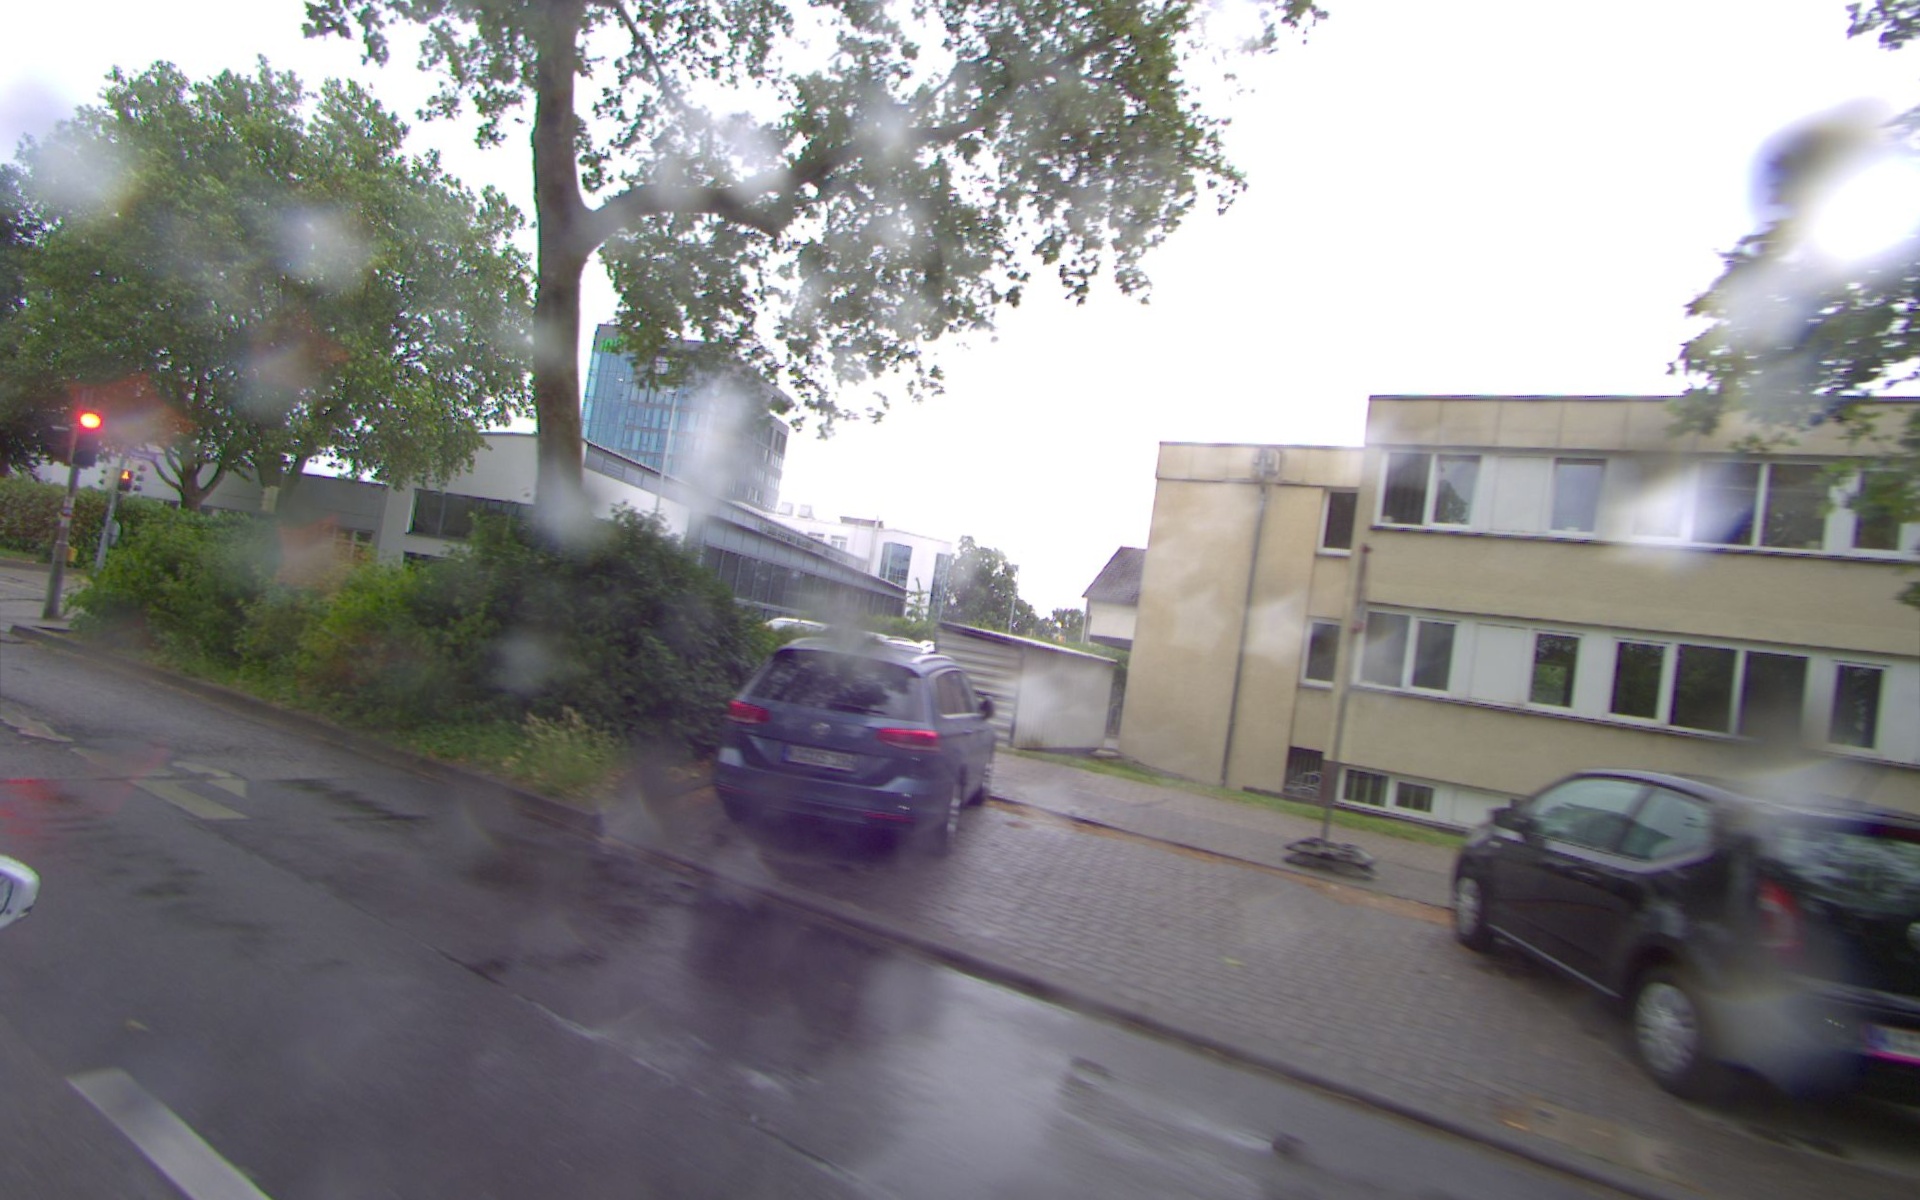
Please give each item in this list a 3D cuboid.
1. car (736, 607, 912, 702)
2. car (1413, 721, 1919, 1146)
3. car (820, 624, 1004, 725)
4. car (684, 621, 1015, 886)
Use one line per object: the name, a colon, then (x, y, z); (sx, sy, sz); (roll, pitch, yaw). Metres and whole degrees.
car: (-3.139, 1.394, 24.266); (1.749, 1.776, 4.553); (7, -3, 27)
car: (4.355, 1.673, 5.971); (1.716, 1.432, 3.698); (8, -3, 4)
car: (-0.922, 1.737, 22.300); (1.719, 1.776, 4.550); (7, -3, 30)
car: (-0.620, 1.144, 8.829); (1.716, 1.474, 4.504); (8, -3, 7)
